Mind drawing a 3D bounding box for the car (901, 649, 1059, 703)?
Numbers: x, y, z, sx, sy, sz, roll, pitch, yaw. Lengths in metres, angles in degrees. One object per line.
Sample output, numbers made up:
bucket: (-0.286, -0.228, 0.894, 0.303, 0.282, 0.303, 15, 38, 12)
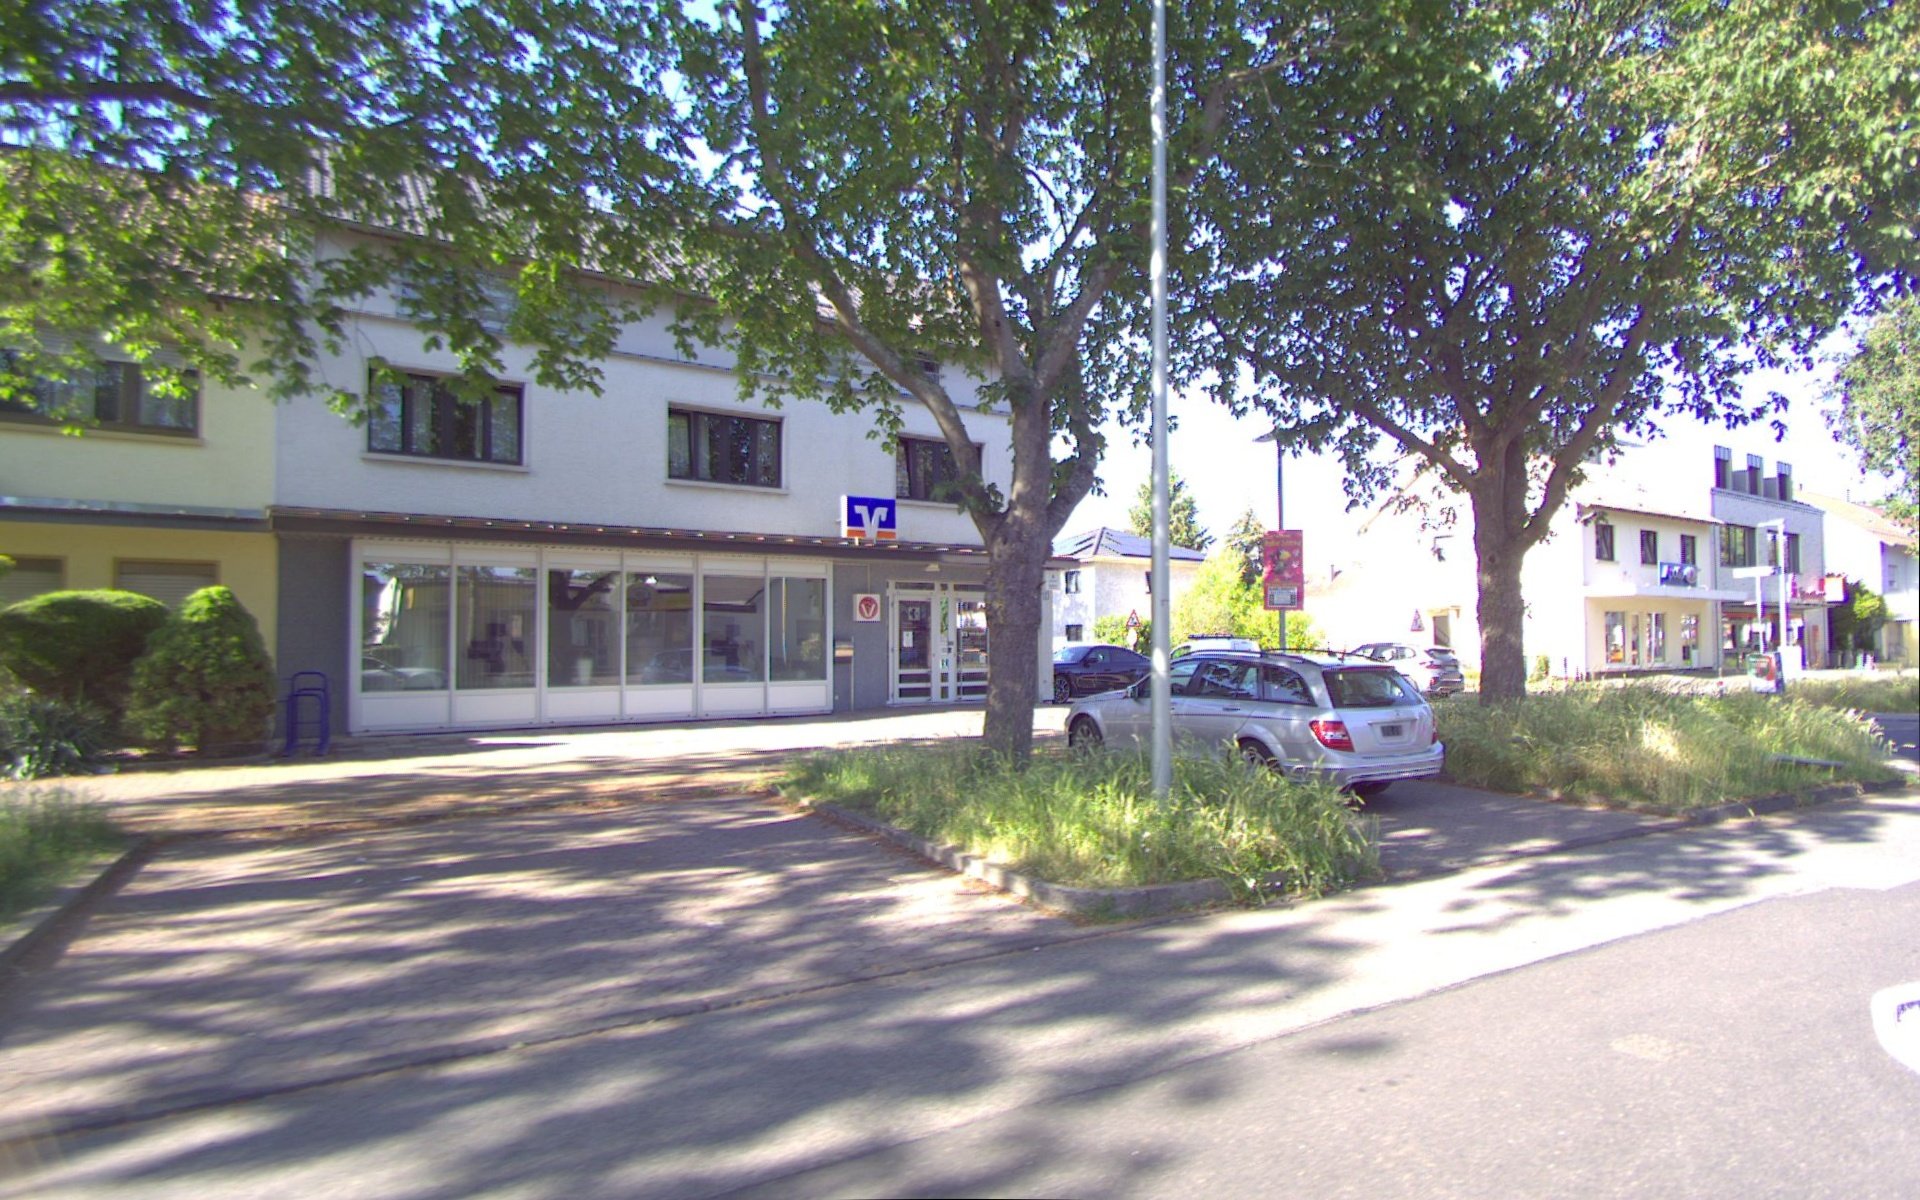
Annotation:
car: (0.656, 2.317, 30.451, 4.624, 1.547, 1.860, 4, -5, -35)

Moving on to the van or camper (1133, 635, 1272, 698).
van or camper: (8.276, 2.267, 34.703, 1.978, 2.040, 4.648, 1, -3, -32)

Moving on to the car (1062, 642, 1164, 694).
car: (5.817, 2.546, 38.648, 1.974, 1.854, 3.974, 1, -2, -27)

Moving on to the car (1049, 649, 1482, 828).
car: (3.040, 1.299, 10.960, 1.977, 1.434, 4.360, 2, -2, -30)

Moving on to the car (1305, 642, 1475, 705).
car: (12.112, 2.073, 28.495, 1.981, 1.659, 3.961, 2, -5, -36)

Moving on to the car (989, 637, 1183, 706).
car: (3.265, 1.837, 25.484, 4.862, 1.583, 1.981, 4, -5, -35)
